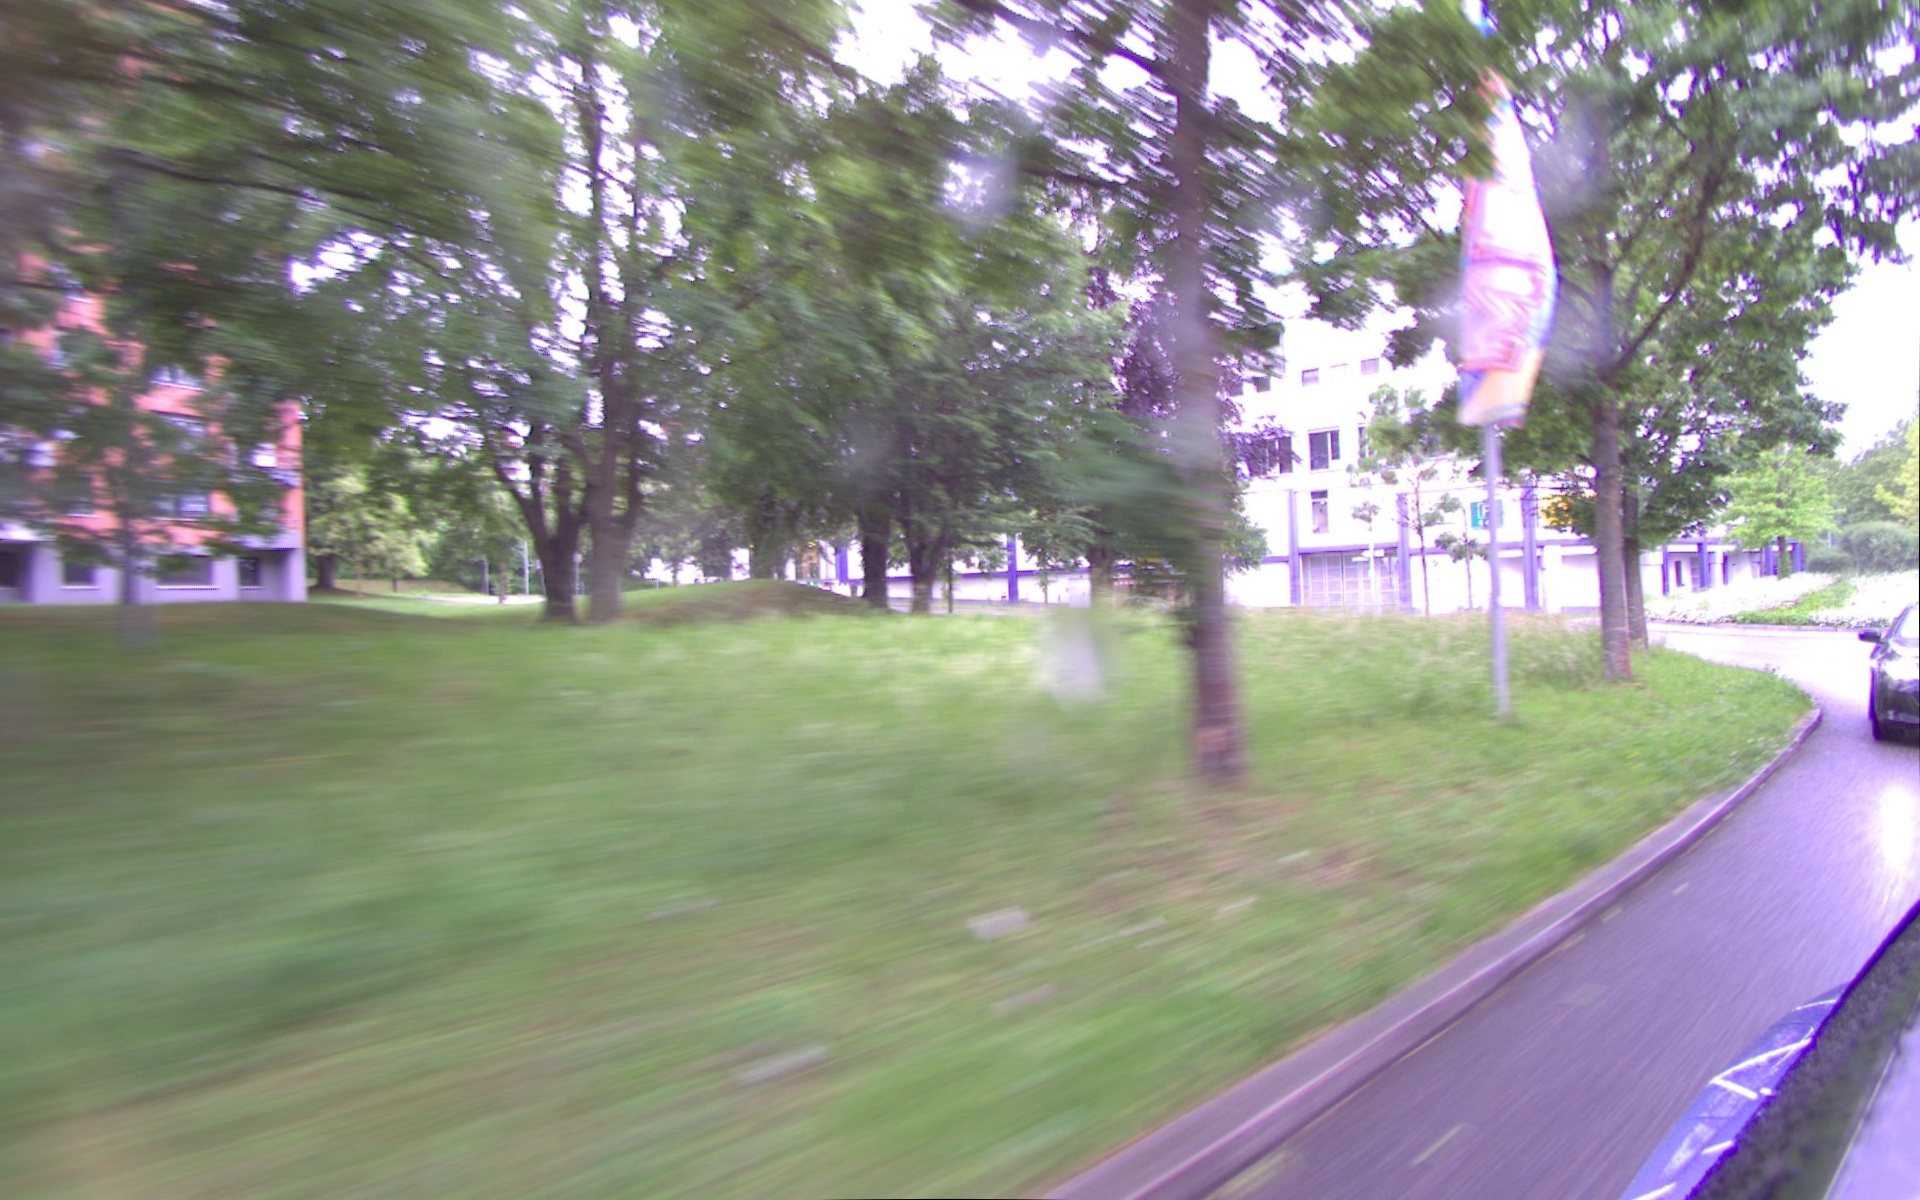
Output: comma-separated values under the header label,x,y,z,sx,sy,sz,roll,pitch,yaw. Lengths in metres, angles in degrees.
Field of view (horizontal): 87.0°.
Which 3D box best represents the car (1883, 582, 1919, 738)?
label,x,y,z,sx,sy,sz,roll,pitch,yaw
car,11.190,0.542,10.845,1.839,1.499,3.938,-2,-1,43
